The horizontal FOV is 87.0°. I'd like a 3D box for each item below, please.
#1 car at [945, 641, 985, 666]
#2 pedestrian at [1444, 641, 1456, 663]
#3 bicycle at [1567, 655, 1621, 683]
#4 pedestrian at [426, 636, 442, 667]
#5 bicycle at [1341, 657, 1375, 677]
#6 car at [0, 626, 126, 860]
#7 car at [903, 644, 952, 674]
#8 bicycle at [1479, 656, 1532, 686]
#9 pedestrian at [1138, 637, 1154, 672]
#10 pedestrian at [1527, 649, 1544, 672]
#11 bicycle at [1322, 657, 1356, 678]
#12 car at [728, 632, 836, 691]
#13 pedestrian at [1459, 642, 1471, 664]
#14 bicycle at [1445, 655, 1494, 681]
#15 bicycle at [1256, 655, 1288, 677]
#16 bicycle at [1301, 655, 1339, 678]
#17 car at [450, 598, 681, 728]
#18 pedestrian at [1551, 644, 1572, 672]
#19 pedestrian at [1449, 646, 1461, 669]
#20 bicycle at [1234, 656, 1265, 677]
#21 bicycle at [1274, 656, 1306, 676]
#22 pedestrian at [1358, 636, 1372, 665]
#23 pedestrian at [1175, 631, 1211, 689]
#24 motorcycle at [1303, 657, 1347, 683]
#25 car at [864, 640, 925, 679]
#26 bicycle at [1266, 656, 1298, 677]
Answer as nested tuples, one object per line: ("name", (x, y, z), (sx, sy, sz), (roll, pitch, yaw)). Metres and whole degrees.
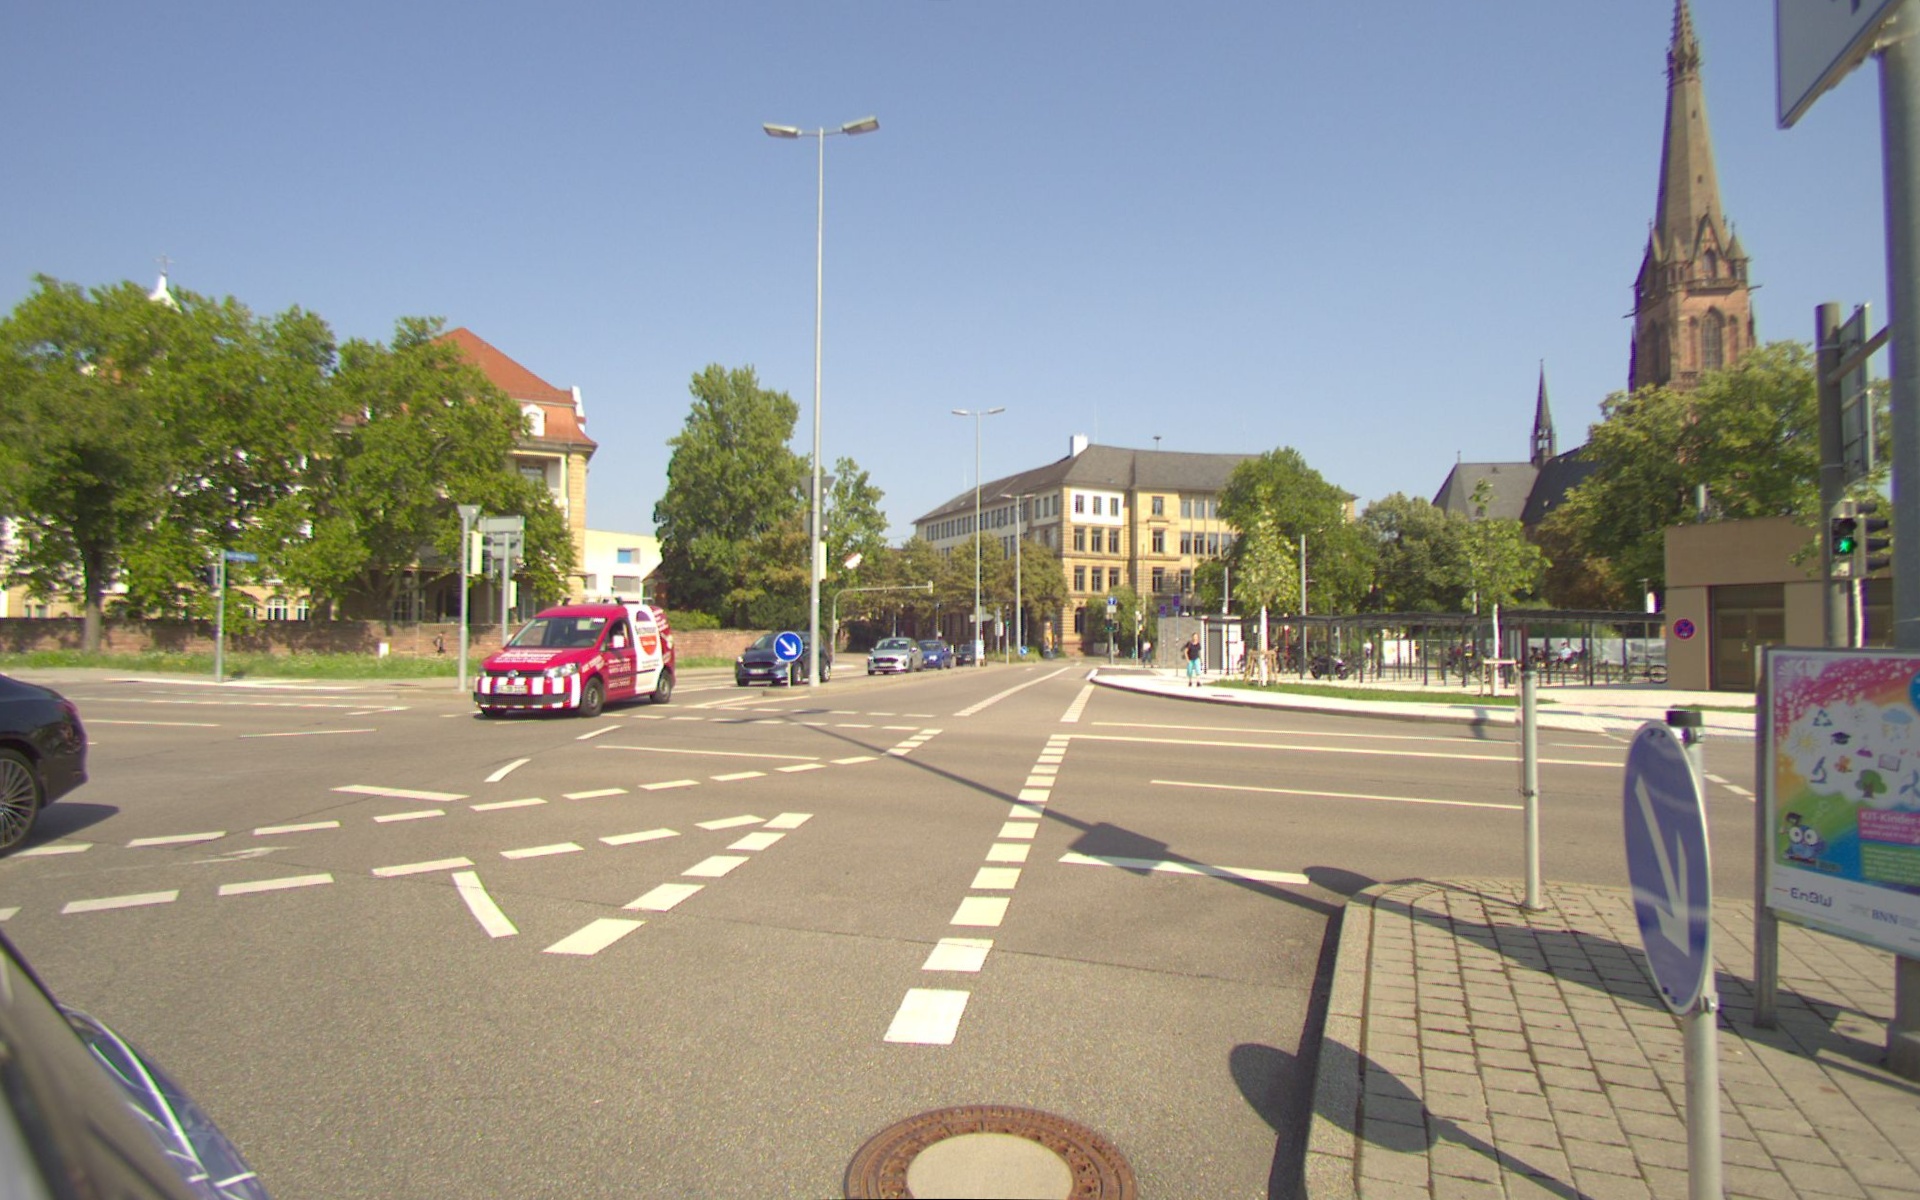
("car", (0.333, 3.393, 64.802), (1.977, 1.564, 3.988), (0, -3, 9))
("pedestrian", (28.452, 3.036, 58.787), (0.432, 1.234, 0.384), (-1, -4, -24))
("bicycle", (23.868, 2.572, 38.126), (0.394, 1.017, 1.751), (1, -3, -25))
("pedestrian", (-28.813, 2.838, 55.436), (0.706, 1.696, 0.596), (1, -3, -22))
("bicycle", (18.148, 3.044, 46.187), (0.403, 0.899, 1.593), (1, -3, -25))
("car", (-6.630, 0.826, 4.846), (1.797, 1.451, 4.882), (0, -2, -9))
("car", (-1.492, 2.745, 47.703), (1.589, 1.339, 4.321), (0, -3, 9))
("bicycle", (19.330, 2.504, 35.925), (0.394, 1.017, 1.751), (1, -3, -25))
("pedestrian", (10.701, 3.123, 58.223), (0.731, 2.029, 0.706), (-2, -3, 32))
("pedestrian", (30.112, 3.156, 52.983), (0.460, 1.206, 0.576), (1, -3, -24))
("bicycle", (17.003, 3.026, 45.374), (0.403, 0.899, 1.593), (1, -3, -25))
("car", (-4.765, 1.644, 27.713), (1.622, 1.438, 4.310), (-2, -3, 9))
("pedestrian", (29.197, 3.067, 58.481), (0.432, 1.234, 0.384), (-1, -4, -24))
("bicycle", (20.738, 2.767, 41.211), (0.453, 1.017, 1.881), (1, -3, -25))
("bicycle", (14.243, 3.011, 46.281), (0.414, 0.975, 1.593), (1, -3, -25))
("bicycle", (16.037, 2.961, 45.089), (0.524, 0.994, 1.719), (1, -3, -25))
("car", (-6.221, 0.965, 16.564), (1.717, 1.833, 4.268), (0, -2, 7))
("pedestrian", (30.593, 2.927, 51.472), (0.650, 1.405, 0.646), (2, -3, -27))
("pedestrian", (28.151, 3.274, 57.544), (0.387, 1.328, 0.416), (-1, -4, -20))
("bicycle", (13.097, 2.999, 45.844), (0.394, 0.899, 1.593), (1, -3, -25))
("bicycle", (15.255, 3.064, 46.797), (0.403, 0.899, 1.593), (1, -3, -25))
("pedestrian", (25.047, 3.127, 62.611), (0.708, 1.762, 0.388), (0, -3, 7))
("pedestrian", (6.448, 1.660, 28.030), (0.742, 1.577, 0.668), (2, -3, -8))
("motorcycle", (14.479, 2.760, 40.159), (0.533, 1.017, 1.751), (1, -3, -25))
("car", (-2.562, 2.330, 40.215), (1.701, 1.444, 3.850), (0, -3, 8))
("bicycle", (14.808, 3.052, 46.574), (0.394, 0.899, 1.593), (1, -3, -25))
